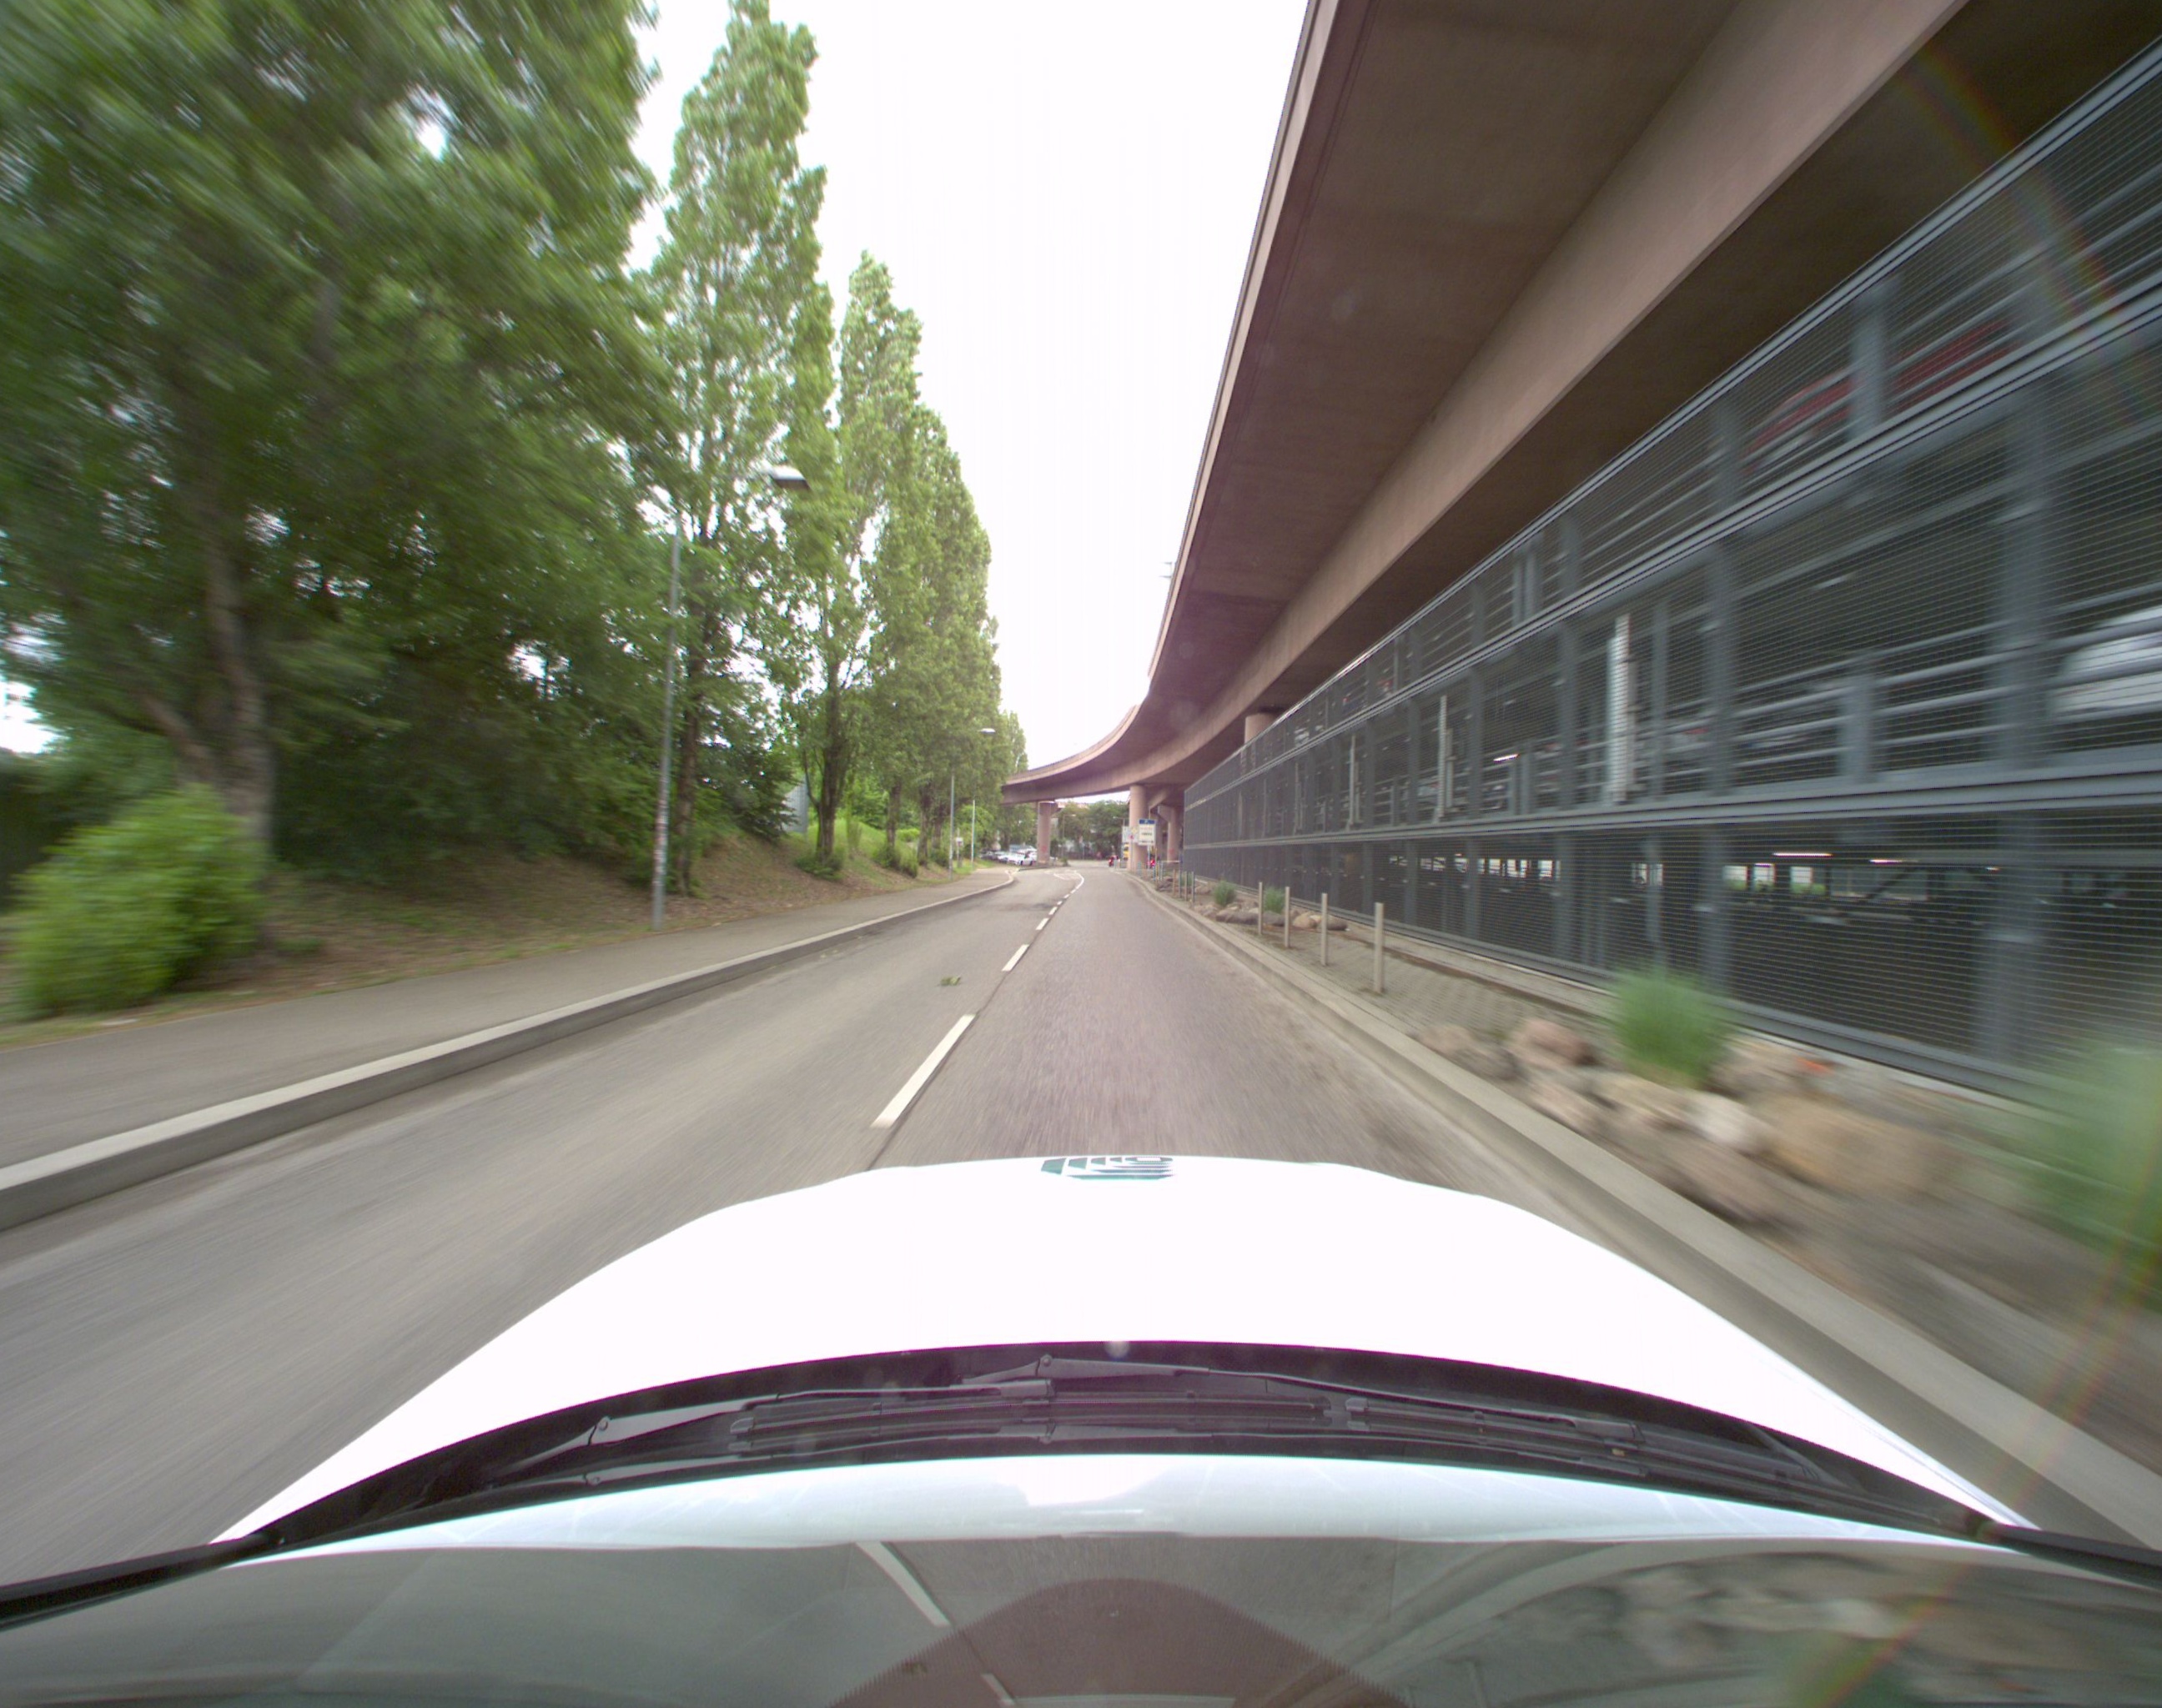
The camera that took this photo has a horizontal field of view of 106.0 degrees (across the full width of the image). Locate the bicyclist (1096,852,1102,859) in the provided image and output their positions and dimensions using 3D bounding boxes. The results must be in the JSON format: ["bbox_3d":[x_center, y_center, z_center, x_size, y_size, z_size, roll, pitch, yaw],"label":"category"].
[{"bbox_3d":[3.694,0.320,165.908,0.801,1.405,1.056,0,0,-30],"label":"bicyclist"}]

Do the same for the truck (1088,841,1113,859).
[{"bbox_3d":[4.389,-0.882,183.445,3.075,3.867,7.996,0,2,-19],"label":"truck"}]

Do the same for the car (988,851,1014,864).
[{"bbox_3d":[-11.281,0.529,115.169,1.840,1.691,4.187,1,-1,25],"label":"car"}]

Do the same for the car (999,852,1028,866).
[{"bbox_3d":[-8.923,0.698,108.196,1.977,1.583,4.423,5,0,22],"label":"car"}]

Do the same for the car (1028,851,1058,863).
[{"bbox_3d":[-6.040,0.416,129.002,4.349,1.606,1.962,3,0,14],"label":"car"}]

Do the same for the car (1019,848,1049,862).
[{"bbox_3d":[-7.742,0.094,134.787,4.529,2.111,1.855,2,0,9],"label":"car"}]

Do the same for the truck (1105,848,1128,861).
[{"bbox_3d":[8.079,0.083,184.675,2.925,2.898,6.516,0,2,-19],"label":"truck"}]

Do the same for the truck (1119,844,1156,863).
[{"bbox_3d":[11.644,-0.215,166.146,2.900,3.480,8.296,4,5,42],"label":"truck"}]

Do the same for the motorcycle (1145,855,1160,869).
[{"bbox_3d":[7.342,0.775,83.406,0.797,1.366,2.118,0,0,-16],"label":"motorcycle"}]

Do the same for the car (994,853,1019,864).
[{"bbox_3d":[-10.166,0.660,111.784,1.771,1.454,3.768,1,0,25],"label":"car"}]

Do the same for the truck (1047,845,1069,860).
[{"bbox_3d":[-5.780,-0.397,204.140,3.067,3.618,7.860,0,2,-21],"label":"truck"}]

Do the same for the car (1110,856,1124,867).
[{"bbox_3d":[5.740,1.167,129.936,1.987,1.679,4.560,1,0,1],"label":"car"}]

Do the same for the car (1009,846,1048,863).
[{"bbox_3d":[-8.840,0.063,137.630,6.147,2.725,2.371,2,0,4],"label":"car"}]

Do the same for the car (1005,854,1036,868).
[{"bbox_3d":[-7.717,0.913,104.299,1.977,1.480,4.853,5,-1,22],"label":"car"}]

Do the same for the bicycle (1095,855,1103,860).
[{"bbox_3d":[3.680,0.696,165.917,0.807,1.097,2.111,0,0,-30],"label":"bicycle"}]

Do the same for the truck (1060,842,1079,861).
[{"bbox_3d":[-2.955,-0.711,207.811,3.208,4.779,8.010,0,2,-14],"label":"truck"}]
